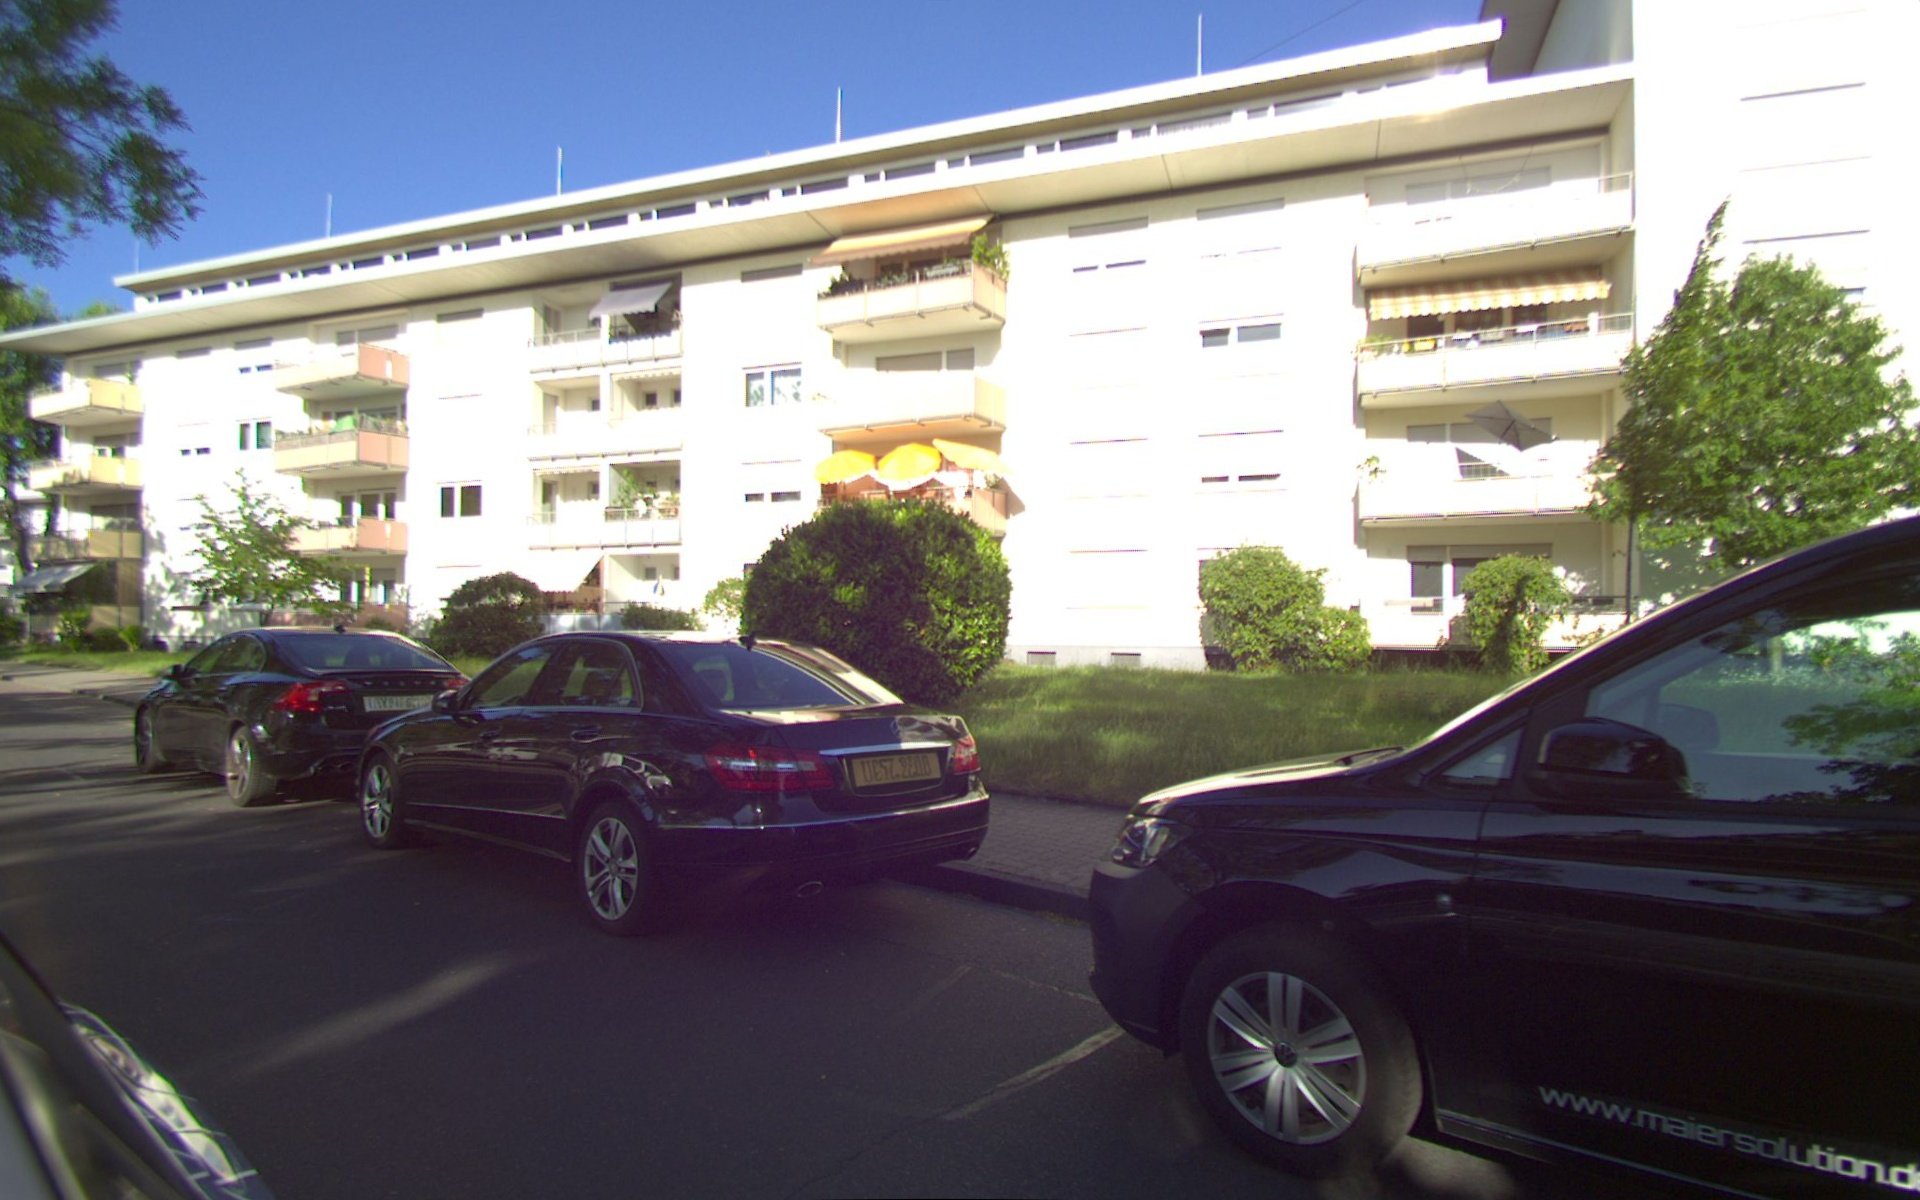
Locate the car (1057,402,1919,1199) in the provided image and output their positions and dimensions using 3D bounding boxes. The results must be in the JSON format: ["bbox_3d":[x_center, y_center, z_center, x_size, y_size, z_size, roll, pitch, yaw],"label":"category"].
[{"bbox_3d":[2.748,0.560,2.241,4.885,1.794,1.821,-1,-3,41],"label":"car"}]

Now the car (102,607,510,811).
[{"bbox_3d":[-6.393,0.863,9.658,4.795,1.493,1.822,-1,-3,39],"label":"car"}]

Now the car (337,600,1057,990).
[{"bbox_3d":[-1.837,0.838,6.089,4.570,1.493,1.821,-1,-5,40],"label":"car"}]
